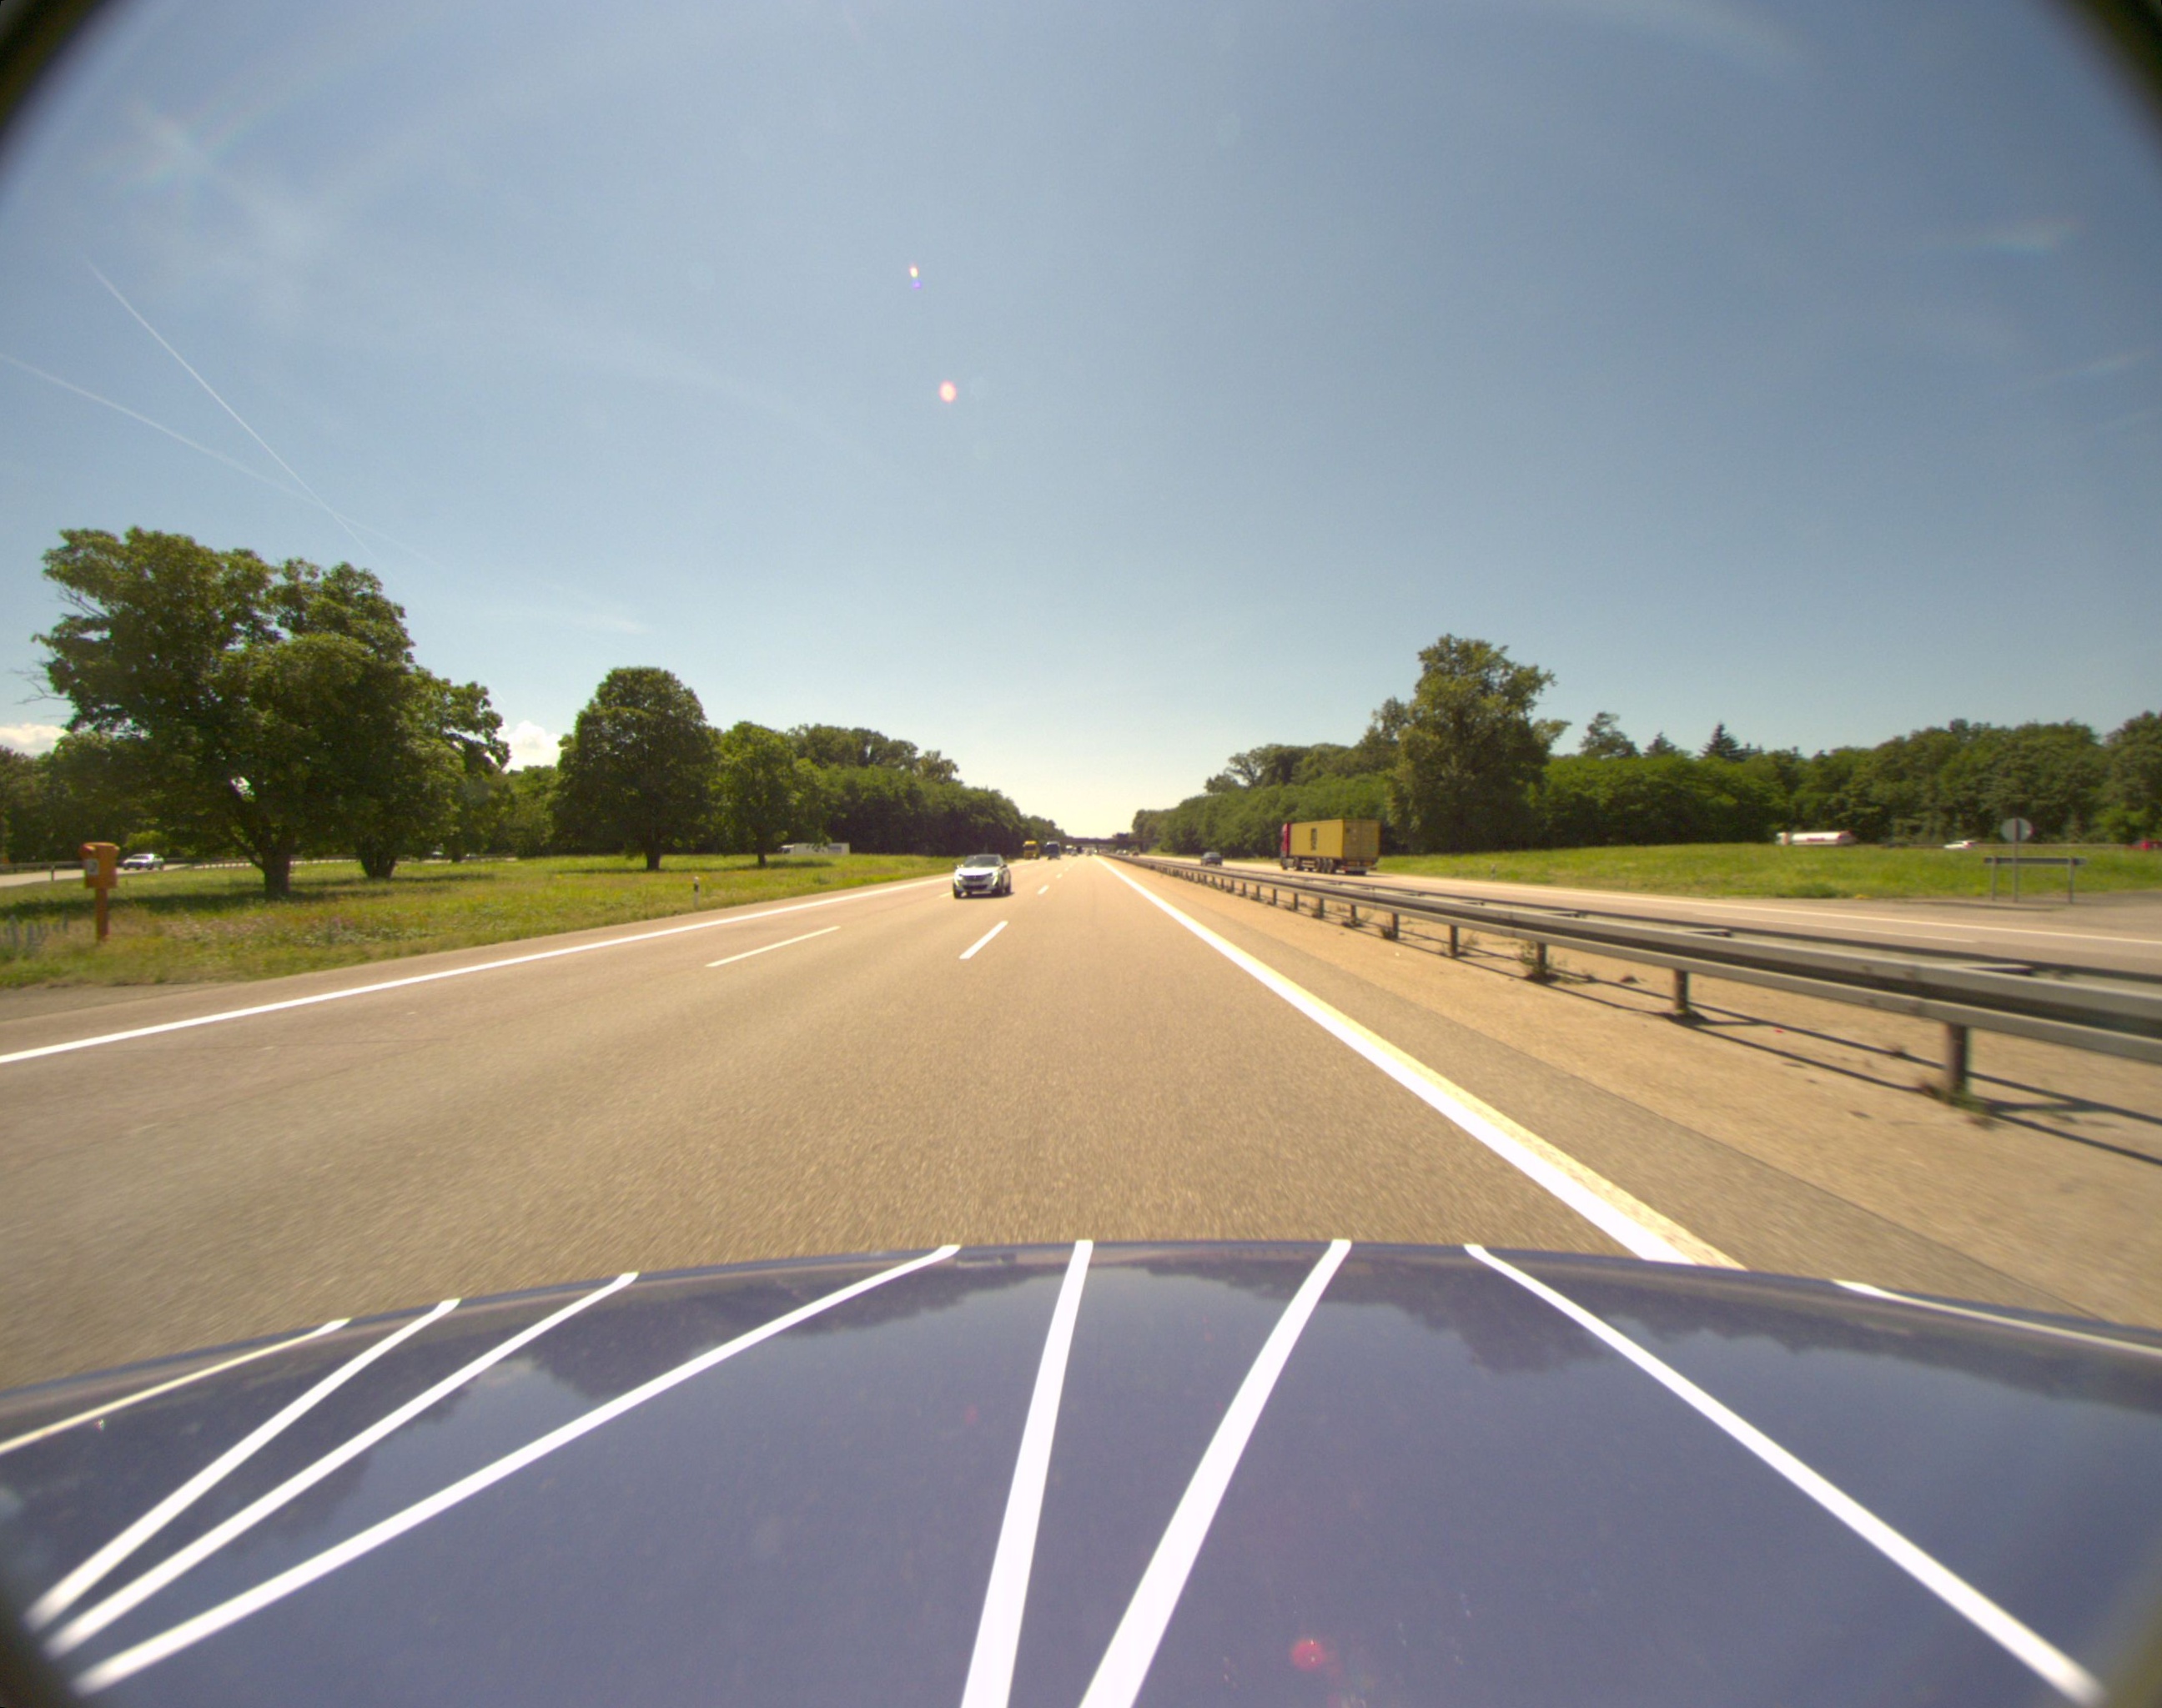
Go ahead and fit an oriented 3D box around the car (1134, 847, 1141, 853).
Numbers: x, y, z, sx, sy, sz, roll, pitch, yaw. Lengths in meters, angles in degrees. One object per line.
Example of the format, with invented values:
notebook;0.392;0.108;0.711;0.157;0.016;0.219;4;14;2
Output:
car;16.229;-1.157;219.011;1.767;1.486;4.074;1;1;1

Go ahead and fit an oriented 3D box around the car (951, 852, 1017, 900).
car;-3.617;0.778;29.138;1.832;1.599;4.808;-1;1;0

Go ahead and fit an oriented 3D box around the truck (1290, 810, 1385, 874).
truck;18.125;-0.808;54.925;2.606;4.024;12.691;2;1;1

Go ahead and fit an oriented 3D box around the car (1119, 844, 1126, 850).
car;12.467;-2.126;230.240;1.815;1.683;5.124;-1;1;1

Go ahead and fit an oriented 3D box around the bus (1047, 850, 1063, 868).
bus;-5.339;1.040;159.759;2.617;3.532;13.681;-2;1;0

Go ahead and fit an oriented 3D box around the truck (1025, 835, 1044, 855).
truck;-10.224;-1.986;168.305;2.982;4.013;10.981;-3;1;2

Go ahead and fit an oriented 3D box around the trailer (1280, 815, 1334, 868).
trailer;18.108;-0.989;61.304;2.609;3.969;6.028;0;1;1

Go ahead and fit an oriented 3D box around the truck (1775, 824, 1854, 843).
truck;133.591;-3.638;138.763;2.703;3.264;14.790;-2;1;10

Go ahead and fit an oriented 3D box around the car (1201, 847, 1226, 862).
car;14.165;0.043;81.715;1.725;1.373;4.785;3;1;-1

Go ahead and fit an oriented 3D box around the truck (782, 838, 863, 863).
truck;-37.907;-0.594;111.627;10.786;3.300;3.031;-2;1;-30

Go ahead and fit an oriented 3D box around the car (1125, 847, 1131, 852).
car;15.620;-1.547;250.901;1.767;1.683;4.818;-1;1;1

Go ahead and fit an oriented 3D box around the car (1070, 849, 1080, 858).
car;-1.762;-0.204;226.578;2.616;2.389;7.122;-2;1;0
